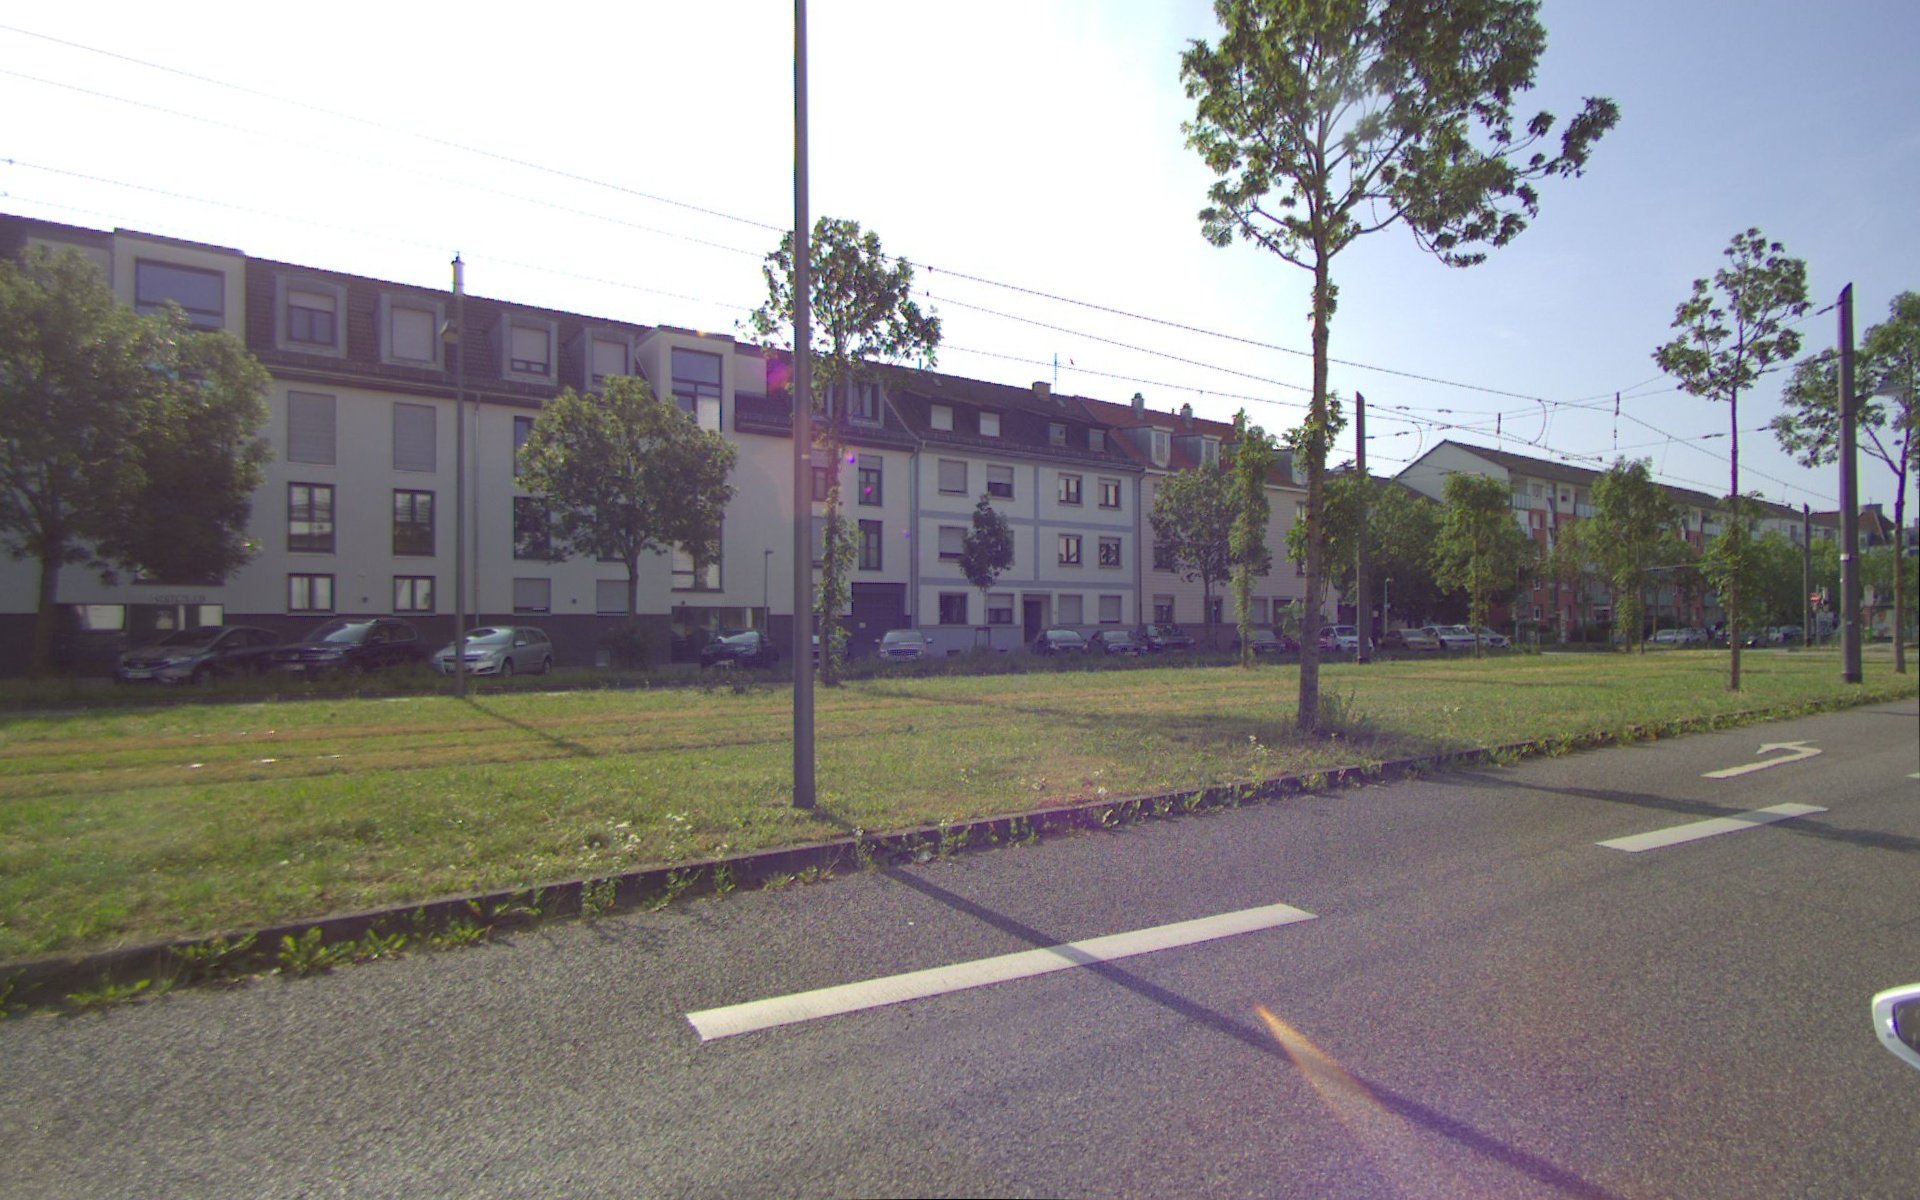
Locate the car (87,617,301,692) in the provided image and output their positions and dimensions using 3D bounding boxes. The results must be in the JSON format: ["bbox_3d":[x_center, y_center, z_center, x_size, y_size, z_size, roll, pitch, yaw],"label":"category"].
[{"bbox_3d":[-17.015,1.148,22.585,1.747,1.439,4.000,1,0,-1],"label":"car"}]

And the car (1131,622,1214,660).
[{"bbox_3d":[8.450,1.623,40.351,1.963,1.305,4.053,1,0,-8],"label":"car"}]

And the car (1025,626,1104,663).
[{"bbox_3d":[3.914,1.639,38.196,1.964,1.305,3.993,0,-1,-10],"label":"car"}]

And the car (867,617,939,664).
[{"bbox_3d":[-1.999,1.328,34.105,1.964,1.394,4.332,1,0,-10],"label":"car"}]

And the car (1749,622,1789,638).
[{"bbox_3d":[75.218,2.778,93.402,4.032,1.378,1.966,1,0,-37],"label":"car"}]

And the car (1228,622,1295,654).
[{"bbox_3d":[13.549,1.675,45.302,1.666,1.251,3.998,1,0,-2],"label":"car"}]

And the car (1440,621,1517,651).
[{"bbox_3d":[29.246,2.012,56.813,1.925,1.483,4.351,1,0,-3],"label":"car"}]

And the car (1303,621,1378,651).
[{"bbox_3d":[18.569,1.746,49.187,1.851,1.286,3.996,1,0,-6],"label":"car"}]

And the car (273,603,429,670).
[{"bbox_3d":[-14.533,0.823,24.208,1.610,1.453,3.720,1,0,-3],"label":"car"}]

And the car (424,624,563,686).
[{"bbox_3d":[-11.844,1.348,25.840,1.700,1.338,4.397,1,0,-3],"label":"car"}]

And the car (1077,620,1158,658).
[{"bbox_3d":[6.158,1.496,39.713,1.964,1.305,3.993,1,0,-10],"label":"car"}]

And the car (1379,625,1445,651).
[{"bbox_3d":[24.033,1.985,53.549,1.960,1.194,4.002,1,0,5],"label":"car"}]

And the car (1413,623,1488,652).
[{"bbox_3d":[26.508,2.004,54.446,1.960,1.534,4.466,0,-1,1],"label":"car"}]

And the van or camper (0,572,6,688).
[{"bbox_3d":[-22.465,0.596,19.285,2.366,2.580,6.163,0,-1,1],"label":"van or camper"}]

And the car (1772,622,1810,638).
[{"bbox_3d":[79.646,2.888,96.281,4.032,1.378,1.966,1,0,-37],"label":"car"}]

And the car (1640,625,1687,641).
[{"bbox_3d":[54.759,2.543,78.174,4.126,1.163,1.820,1,0,-37],"label":"car"}]

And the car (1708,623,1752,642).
[{"bbox_3d":[67.251,2.852,87.713,4.495,1.577,1.966,1,0,-37],"label":"car"}]

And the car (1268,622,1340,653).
[{"bbox_3d":[16.160,1.746,47.391,1.840,1.275,3.998,1,0,-3],"label":"car"}]

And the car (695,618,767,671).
[{"bbox_3d":[-6.894,1.308,30.593,1.802,1.394,3.994,1,0,-9],"label":"car"}]

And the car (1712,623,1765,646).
[{"bbox_3d":[60.080,2.630,77.513,4.666,1.728,1.980,1,-1,-36],"label":"car"}]

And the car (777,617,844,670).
[{"bbox_3d":[-4.623,1.302,31.112,1.892,1.394,3.994,1,0,-9],"label":"car"}]

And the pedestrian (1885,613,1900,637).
[{"bbox_3d":[65.382,1.758,70.433,0.788,1.675,0.666,1,-1,-40],"label":"pedestrian"}]

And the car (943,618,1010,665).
[{"bbox_3d":[0.510,1.391,34.631,1.634,1.394,3.774,1,0,-10],"label":"car"}]
